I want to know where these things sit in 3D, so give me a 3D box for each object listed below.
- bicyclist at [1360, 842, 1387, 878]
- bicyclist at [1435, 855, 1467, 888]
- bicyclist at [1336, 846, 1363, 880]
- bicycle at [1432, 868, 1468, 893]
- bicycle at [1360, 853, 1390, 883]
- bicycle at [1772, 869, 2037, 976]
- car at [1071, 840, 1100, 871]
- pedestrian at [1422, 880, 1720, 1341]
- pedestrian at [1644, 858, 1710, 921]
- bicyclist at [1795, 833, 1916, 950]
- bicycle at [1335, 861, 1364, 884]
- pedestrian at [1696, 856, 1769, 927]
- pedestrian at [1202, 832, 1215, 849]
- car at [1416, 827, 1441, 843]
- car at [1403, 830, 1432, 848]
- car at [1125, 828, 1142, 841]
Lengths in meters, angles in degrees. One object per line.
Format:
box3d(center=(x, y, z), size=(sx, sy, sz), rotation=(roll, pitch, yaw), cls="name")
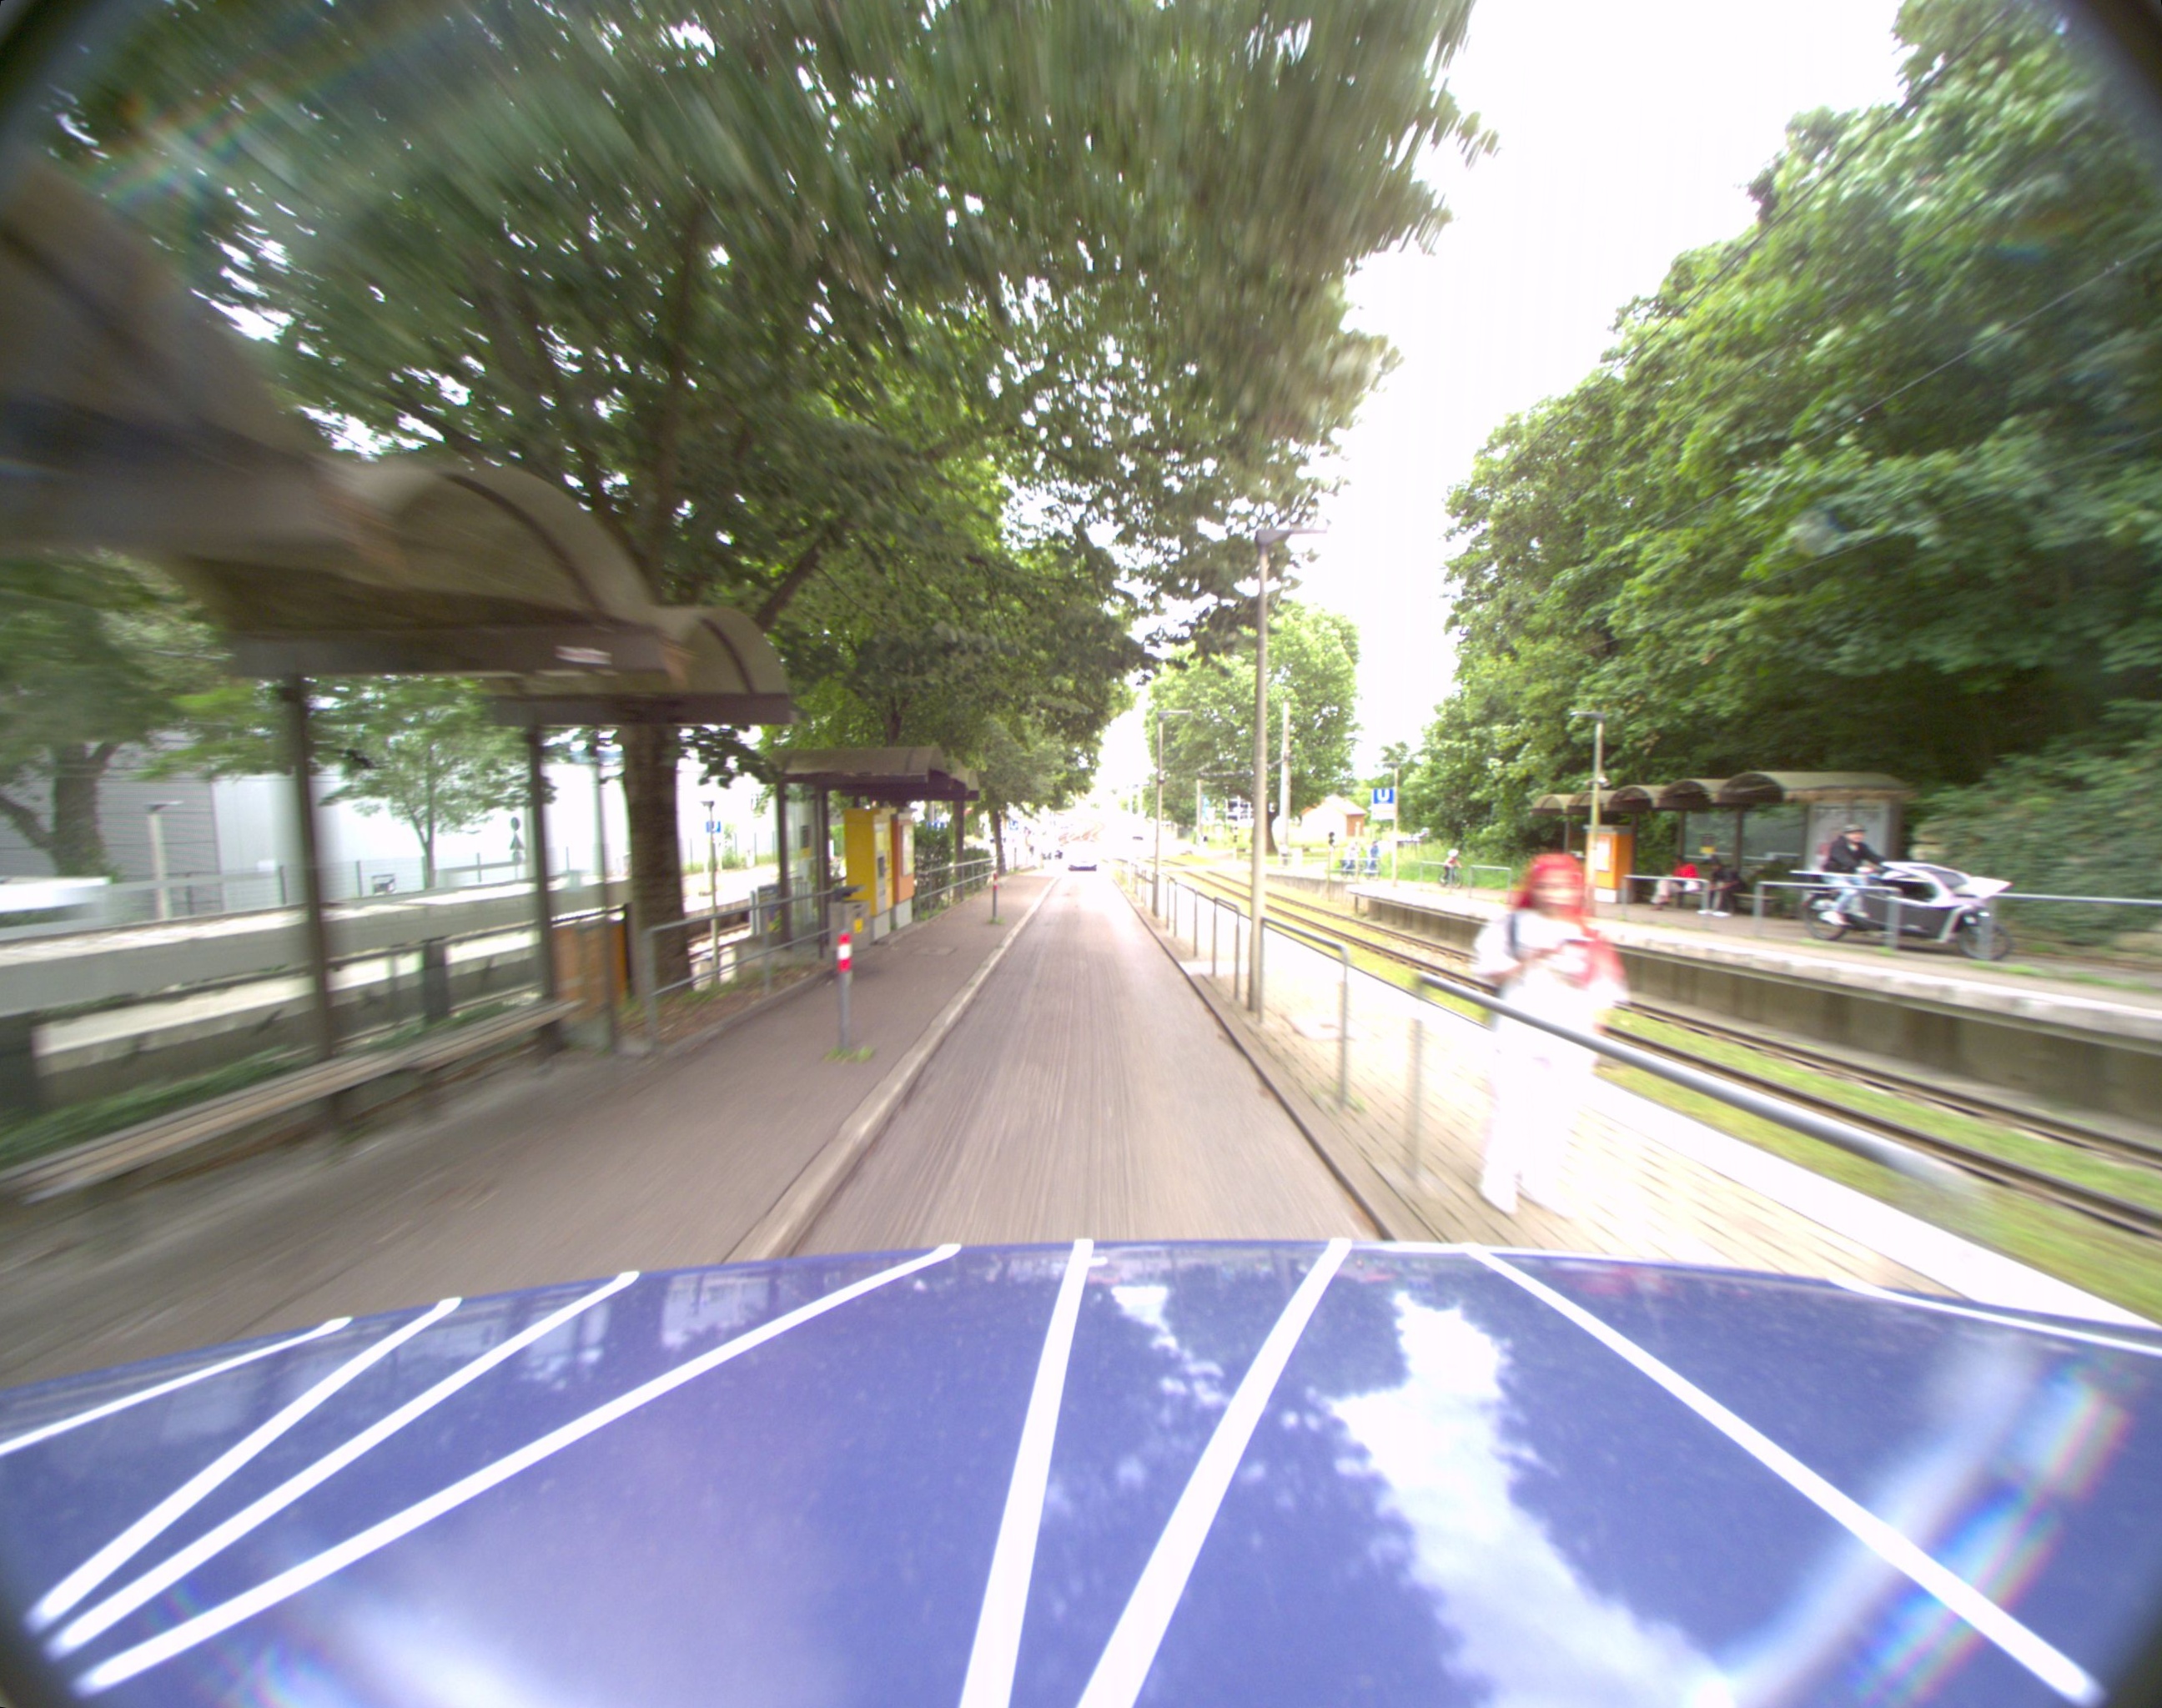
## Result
box3d(center=(11.875, 0.248, 30.865), size=(0.732, 1.434, 0.840), rotation=(-1, 0, -1), cls="bicyclist")
box3d(center=(12.151, 0.568, 24.964), size=(0.691, 1.047, 0.744), rotation=(-1, 0, 0), cls="bicyclist")
box3d(center=(11.446, 0.400, 32.443), size=(0.747, 1.423, 0.907), rotation=(-1, 0, -4), cls="bicyclist")
box3d(center=(12.136, 0.850, 25.023), size=(0.451, 0.776, 1.565), rotation=(-1, 0, 1), cls="bicycle")
box3d(center=(11.915, 0.563, 30.864), size=(0.464, 1.181, 1.940), rotation=(-1, 0, 1), cls="bicycle")
box3d(center=(11.312, 0.863, 10.671), size=(0.752, 1.233, 2.867), rotation=(-2, 0, 4), cls="bicycle")
box3d(center=(0.236, 0.064, 50.494), size=(1.810, 1.910, 4.476), rotation=(-1, 2, -1), cls="car")
box3d(center=(1.797, 0.862, 2.893), size=(0.626, 1.493, 0.739), rotation=(-1, 0, -2), cls="pedestrian")
box3d(center=(13.112, 0.761, 16.738), size=(0.823, 1.316, 0.774), rotation=(-1, 2, -5), cls="pedestrian")
box3d(center=(11.301, 0.528, 11.128), size=(0.706, 1.619, 1.033), rotation=(-2, 0, 4), cls="bicyclist")
box3d(center=(11.440, 0.785, 32.454), size=(0.479, 0.919, 1.844), rotation=(-1, -1, -3), cls="bicycle")
box3d(center=(13.279, 0.743, 15.507), size=(0.823, 1.367, 0.774), rotation=(-1, 2, -5), cls="pedestrian")
box3d(center=(13.000, -1.353, 77.597), size=(1.115, 1.724, 0.695), rotation=(0, 2, 37), cls="pedestrian")
box3d(center=(37.913, -2.062, 82.828), size=(1.994, 1.674, 4.007), rotation=(0, 2, 32), cls="car")
box3d(center=(32.023, -1.441, 72.205), size=(1.994, 1.674, 4.007), rotation=(0, 2, 32), cls="car")
box3d(center=(7.115, -2.658, 102.379), size=(1.997, 1.648, 4.001), rotation=(-1, 2, 8), cls="car")
